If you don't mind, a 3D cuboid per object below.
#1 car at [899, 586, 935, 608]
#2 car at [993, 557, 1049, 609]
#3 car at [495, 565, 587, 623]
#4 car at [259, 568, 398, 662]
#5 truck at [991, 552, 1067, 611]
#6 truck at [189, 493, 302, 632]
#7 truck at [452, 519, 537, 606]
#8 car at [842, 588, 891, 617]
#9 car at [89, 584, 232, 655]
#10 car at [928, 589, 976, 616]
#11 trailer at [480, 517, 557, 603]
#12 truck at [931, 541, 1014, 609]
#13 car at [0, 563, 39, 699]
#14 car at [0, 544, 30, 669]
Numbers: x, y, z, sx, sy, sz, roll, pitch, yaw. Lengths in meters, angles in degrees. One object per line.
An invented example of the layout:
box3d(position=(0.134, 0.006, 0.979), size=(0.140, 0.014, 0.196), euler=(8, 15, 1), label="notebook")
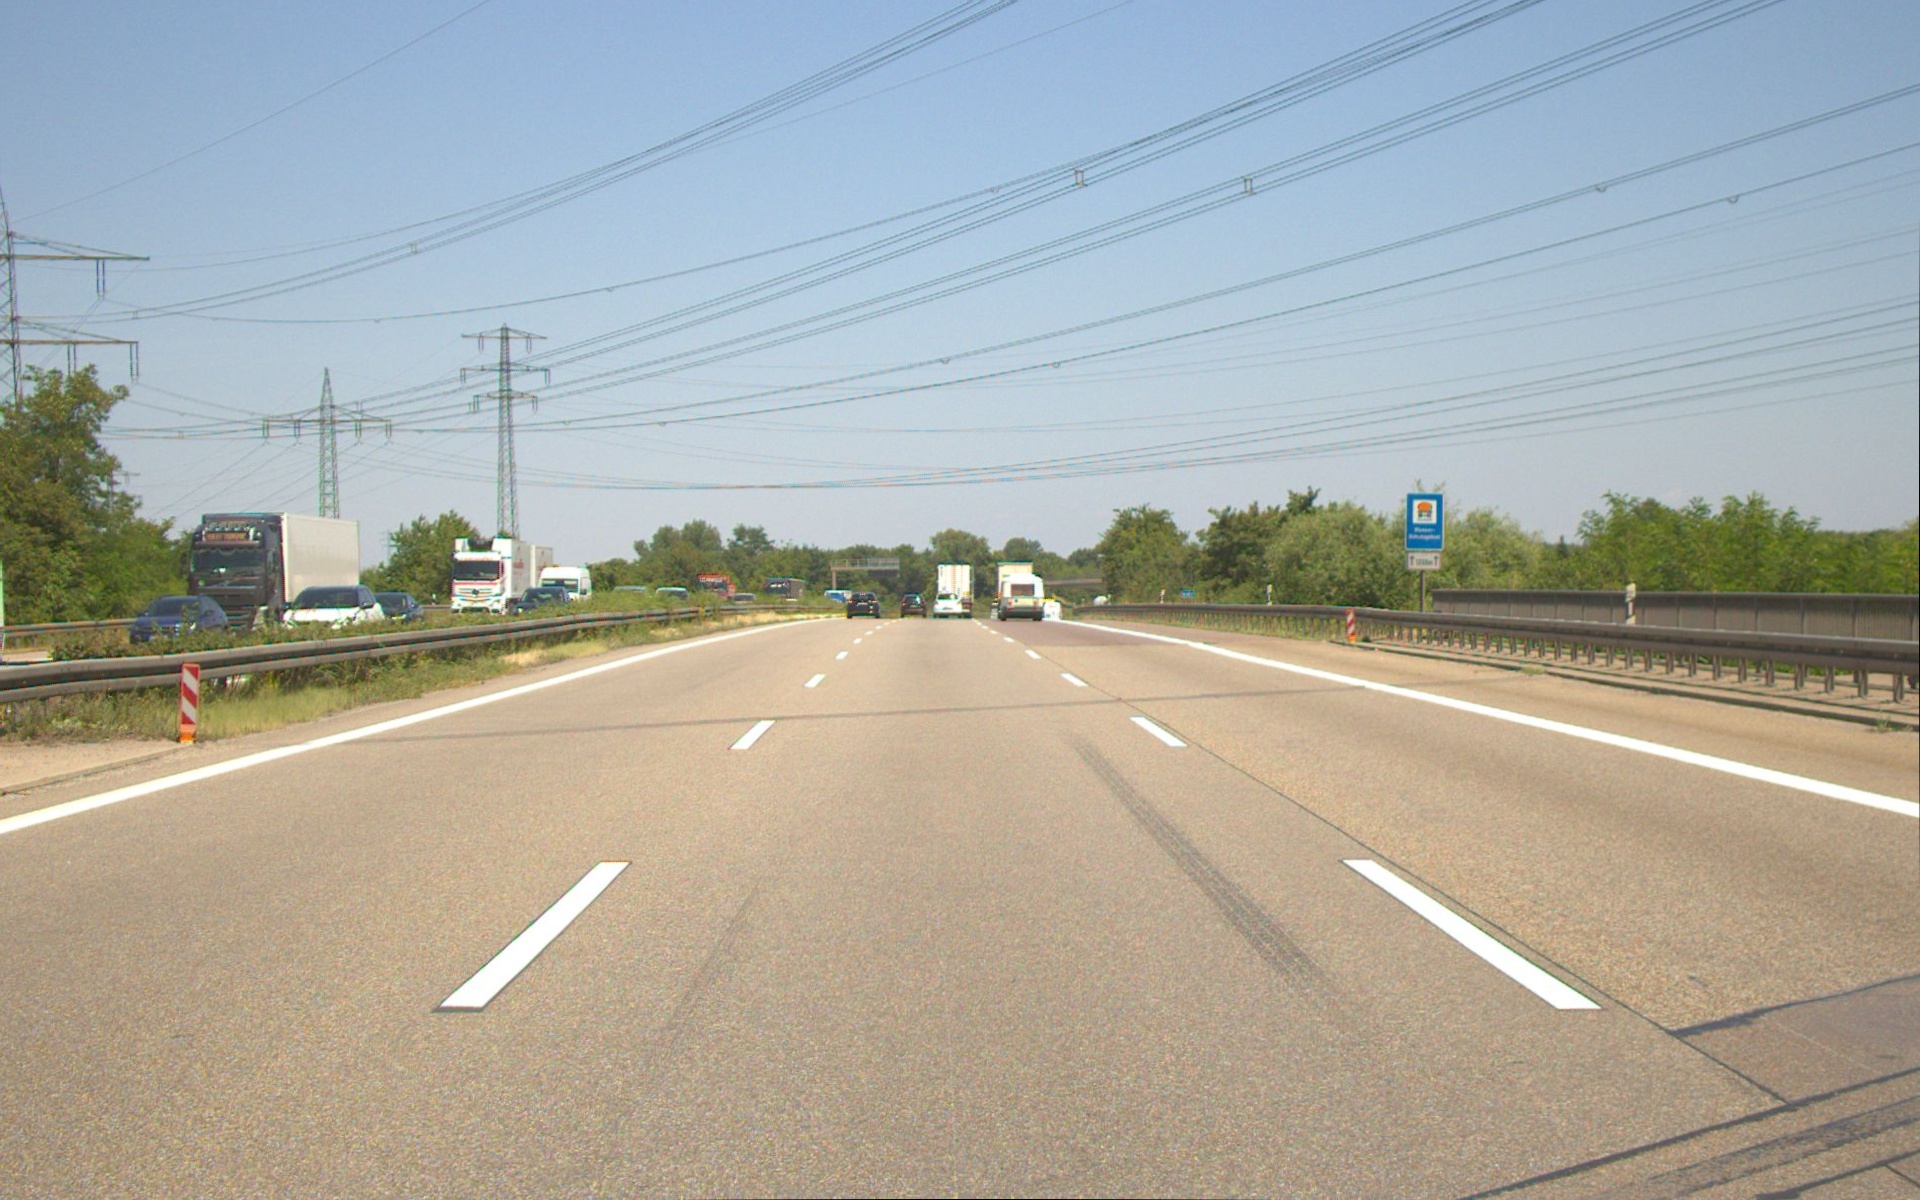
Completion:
box3d(position=(-3.112, -0.228, 248.802), size=(1.828, 1.542, 4.317), euler=(1, 0, 10), label="car")
box3d(position=(2.852, -0.814, 161.255), size=(2.442, 2.314, 5.322), euler=(-1, 1, -1), label="car")
box3d(position=(-14.398, -0.228, 118.471), size=(2.482, 1.925, 5.739), euler=(1, 1, -1), label="car")
box3d(position=(-14.136, 0.296, 77.211), size=(2.297, 2.007, 4.557), euler=(1, 1, -1), label="car")
box3d(position=(5.310, -1.440, 260.201), size=(3.182, 4.290, 16.010), euler=(1, 1, 10), label="truck")
box3d(position=(-21.657, -1.151, 104.449), size=(2.423, 4.097, 4.920), euler=(1, 1, -1), label="truck")
box3d(position=(-21.810, -1.764, 161.576), size=(2.692, 3.936, 10.594), euler=(1, 1, -1), label="truck")
box3d(position=(-5.103, 0.132, 188.557), size=(1.828, 1.542, 4.317), euler=(1, 0, 10), label="car")
box3d(position=(-20.181, 0.471, 86.988), size=(2.483, 1.631, 4.751), euler=(-2, 1, -1), label="car")
box3d(position=(-0.489, 0.156, 205.034), size=(1.829, 1.542, 4.316), euler=(1, 0, 14), label="car")
box3d(position=(-21.923, -2.004, 171.185), size=(2.841, 4.150, 8.327), euler=(1, 1, -1), label="trailer")
box3d(position=(1.067, -1.935, 262.129), size=(3.668, 5.001, 16.010), euler=(1, 1, 10), label="truck")
box3d(position=(-13.666, 0.442, 44.558), size=(2.074, 1.785, 5.108), euler=(-2, 1, -1), label="car")
box3d(position=(-21.163, 0.181, 70.869), size=(2.418, 2.606, 5.717), euler=(-2, 1, -1), label="car")
